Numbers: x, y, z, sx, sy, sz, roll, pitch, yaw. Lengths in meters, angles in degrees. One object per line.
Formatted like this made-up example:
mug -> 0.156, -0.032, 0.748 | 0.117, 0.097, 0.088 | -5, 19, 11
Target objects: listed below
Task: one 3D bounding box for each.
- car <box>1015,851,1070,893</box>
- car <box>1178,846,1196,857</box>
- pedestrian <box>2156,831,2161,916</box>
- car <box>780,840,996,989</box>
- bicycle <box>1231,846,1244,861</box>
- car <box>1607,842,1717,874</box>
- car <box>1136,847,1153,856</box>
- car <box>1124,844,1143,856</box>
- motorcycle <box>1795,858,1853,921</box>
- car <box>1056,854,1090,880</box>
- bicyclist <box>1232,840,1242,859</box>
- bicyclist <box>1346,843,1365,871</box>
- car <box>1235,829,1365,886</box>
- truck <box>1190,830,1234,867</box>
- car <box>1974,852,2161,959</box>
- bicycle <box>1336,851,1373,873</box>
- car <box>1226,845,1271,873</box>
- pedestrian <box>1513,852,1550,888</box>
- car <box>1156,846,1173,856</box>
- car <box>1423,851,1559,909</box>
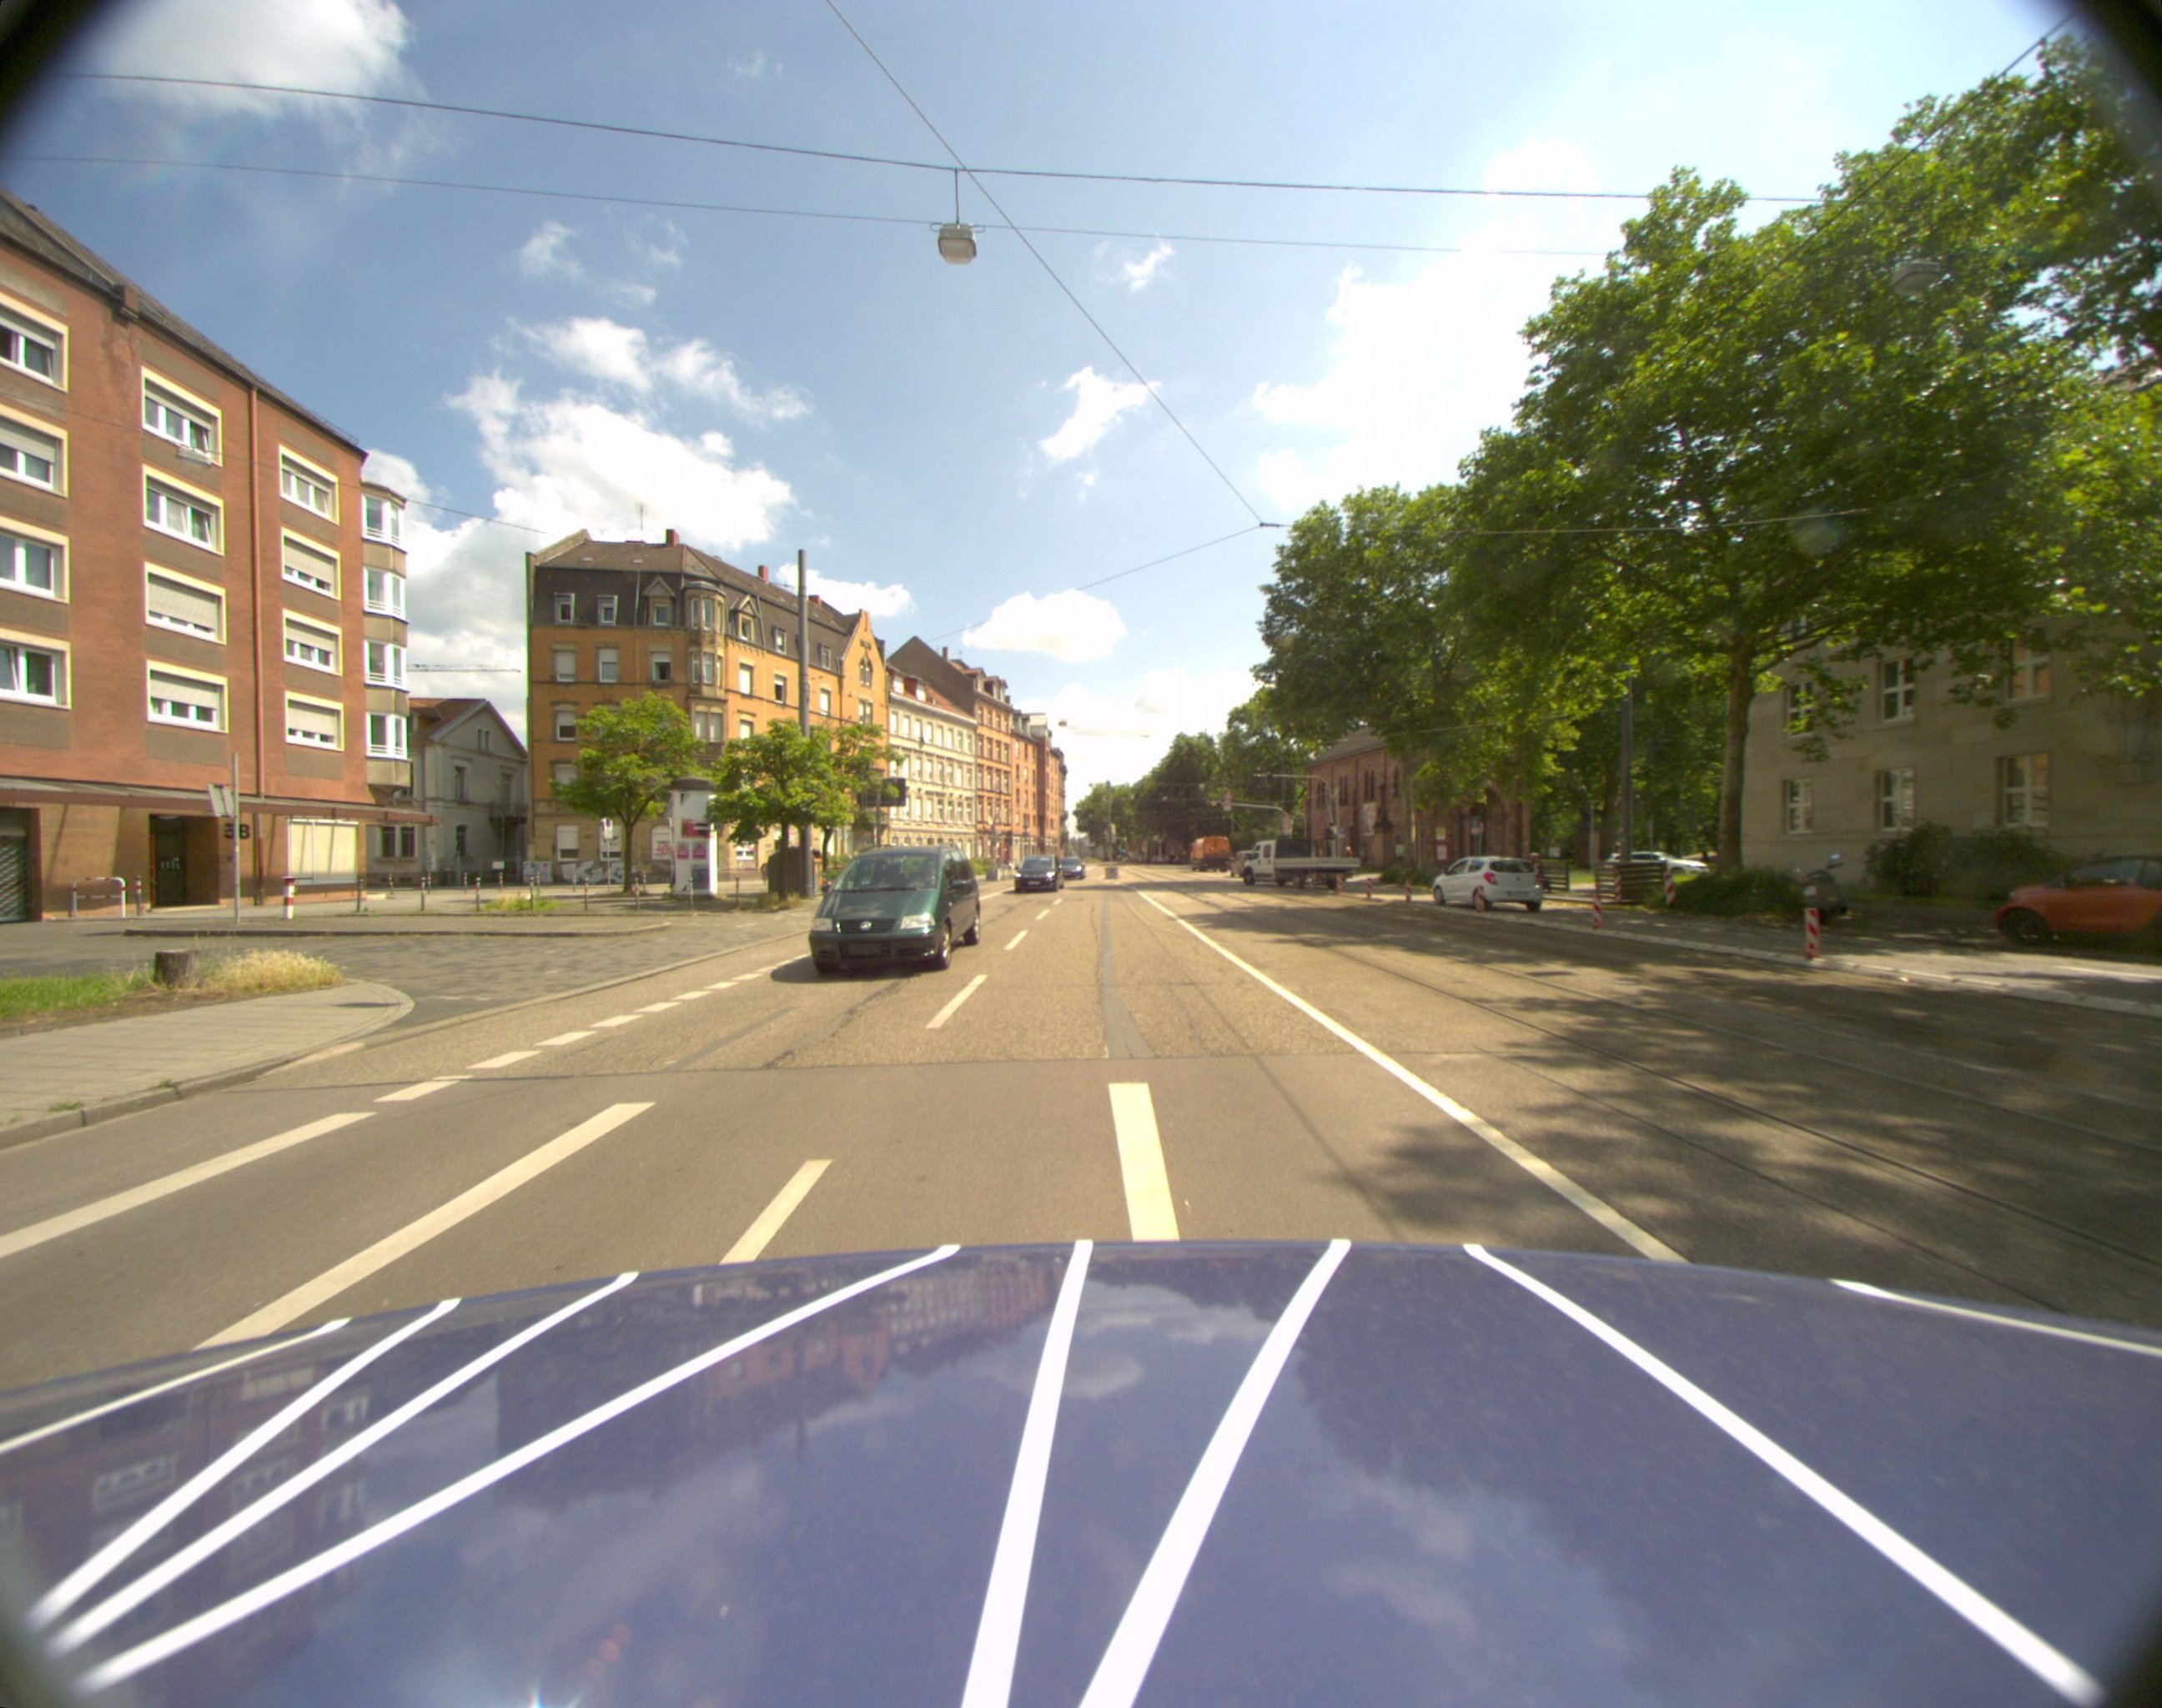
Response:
car -> -1.632, 0.753, 33.668 | 1.875, 1.610, 4.189 | -1, 1, 4
car -> 15.779, -0.357, 113.234 | 1.762, 1.489, 3.997 | -2, 1, -6
pedestrian -> 20.260, 0.360, 13.726 | 0.555, 1.582, 0.795 | -2, 2, 0
car -> -2.665, 0.706, 11.893 | 1.823, 1.747, 5.031 | -2, 2, 3
bicycle -> 14.272, -0.053, 69.404 | 0.706, 1.282, 2.218 | -1, 1, -1
car -> 31.377, 0.182, 41.189 | 1.764, 1.599, 4.399 | -1, 1, -30
car -> 11.316, -0.516, 135.384 | 1.763, 1.489, 3.994 | -2, 1, -16
car -> 10.368, -0.775, 149.975 | 1.765, 2.172, 3.990 | -3, 2, -29
motorcycle -> 16.422, 0.762, 16.781 | 2.110, 1.169, 0.543 | -5, -1, -38
car -> -0.454, 0.786, 48.673 | 1.914, 1.386, 4.312 | -2, 2, 2
bicyclist -> 14.268, -0.431, 69.568 | 0.703, 1.676, 1.175 | -1, 1, -1
bicyclist -> 17.457, 0.183, 48.385 | 0.885, 1.774, 0.662 | -3, 2, -8
car -> 9.957, 0.145, 35.401 | 2.265, 2.360, 6.969 | 1, 0, -18
truck -> 11.628, -0.558, 67.989 | 2.646, 3.088, 7.221 | 1, 1, 0
car -> 16.146, 0.736, 11.647 | 1.490, 1.445, 2.882 | -2, 1, -2
bicycle -> 17.446, 0.482, 48.395 | 2.088, 1.283, 0.671 | -3, 2, -7
car -> 11.244, 0.300, 51.403 | 1.925, 1.736, 4.536 | 2, 1, -1
pedestrian -> 16.835, 0.587, 28.407 | 0.757, 1.205, 0.913 | -6, 1, 2
car -> 13.557, -0.498, 124.108 | 1.762, 1.489, 3.996 | -2, 1, -9
car -> 11.523, 0.667, 21.648 | 1.765, 1.471, 3.787 | 1, 0, -1
